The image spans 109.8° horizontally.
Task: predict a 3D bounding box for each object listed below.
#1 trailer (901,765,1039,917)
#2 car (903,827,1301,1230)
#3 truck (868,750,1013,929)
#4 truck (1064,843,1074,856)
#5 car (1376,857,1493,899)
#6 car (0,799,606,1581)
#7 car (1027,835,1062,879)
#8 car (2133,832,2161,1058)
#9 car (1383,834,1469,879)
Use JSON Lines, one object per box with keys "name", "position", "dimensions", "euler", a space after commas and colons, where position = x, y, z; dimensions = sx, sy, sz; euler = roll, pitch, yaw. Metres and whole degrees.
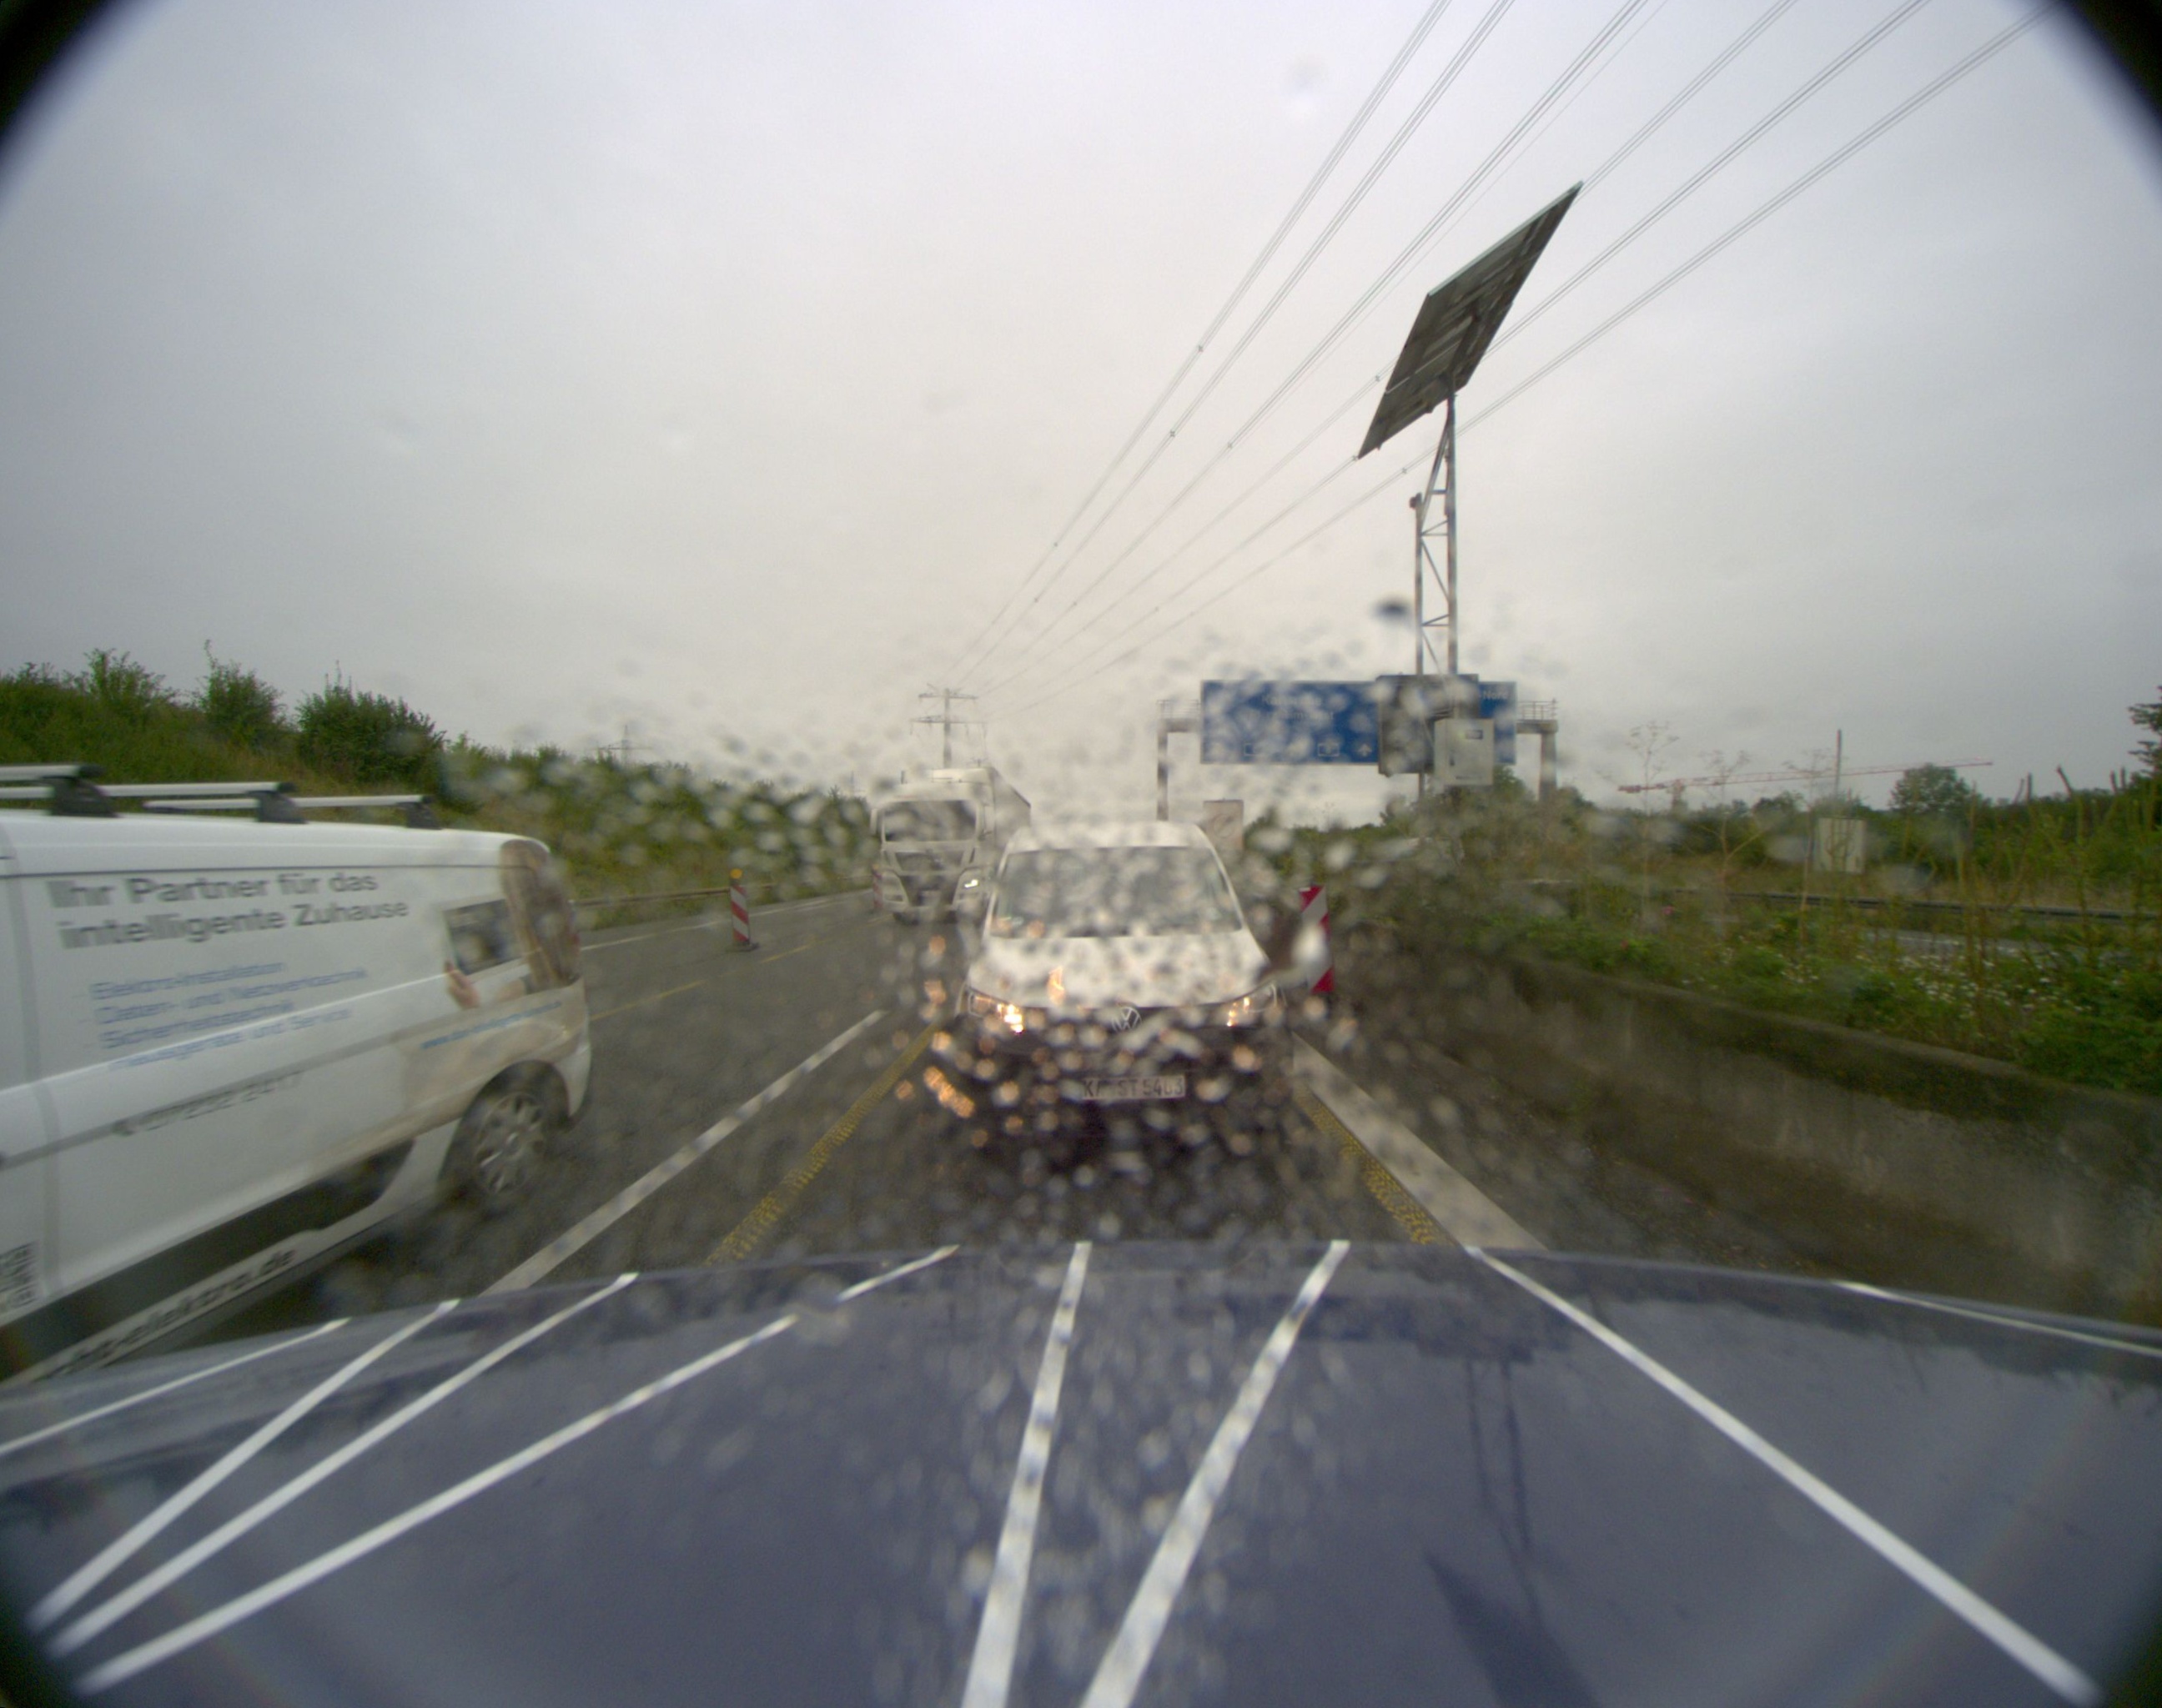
{"name": "trailer", "position": [-3.433, -0.371, 27.738], "dimensions": [2.713, 4.122, 13.731], "euler": [-1, 0, 1]}
{"name": "car", "position": [0.126, 0.794, 5.635], "dimensions": [1.768, 1.803, 4.345], "euler": [-1, 0, 1]}
{"name": "truck", "position": [-3.550, -0.344, 20.651], "dimensions": [2.713, 4.114, 5.690], "euler": [-1, 0, 1]}
{"name": "truck", "position": [-3.623, -1.337, 234.140], "dimensions": [2.875, 4.007, 8.309], "euler": [-1, 0, 1]}
{"name": "car", "position": [12.332, 0.775, 26.898], "dimensions": [1.998, 1.274, 4.666], "euler": [-1, 0, 1]}
{"name": "car", "position": [-3.465, 0.808, 1.655], "dimensions": [1.834, 1.829, 4.655], "euler": [-2, 0, 1]}
{"name": "car", "position": [-2.398, 0.185, 51.220], "dimensions": [1.998, 2.766, 5.756], "euler": [-1, 0, 0]}
{"name": "car", "position": [10.153, 0.775, 4.612], "dimensions": [1.998, 1.919, 4.000], "euler": [0, 0, 1]}
{"name": "car", "position": [17.007, 0.107, 37.732], "dimensions": [1.998, 2.002, 5.059], "euler": [-1, 0, 1]}
